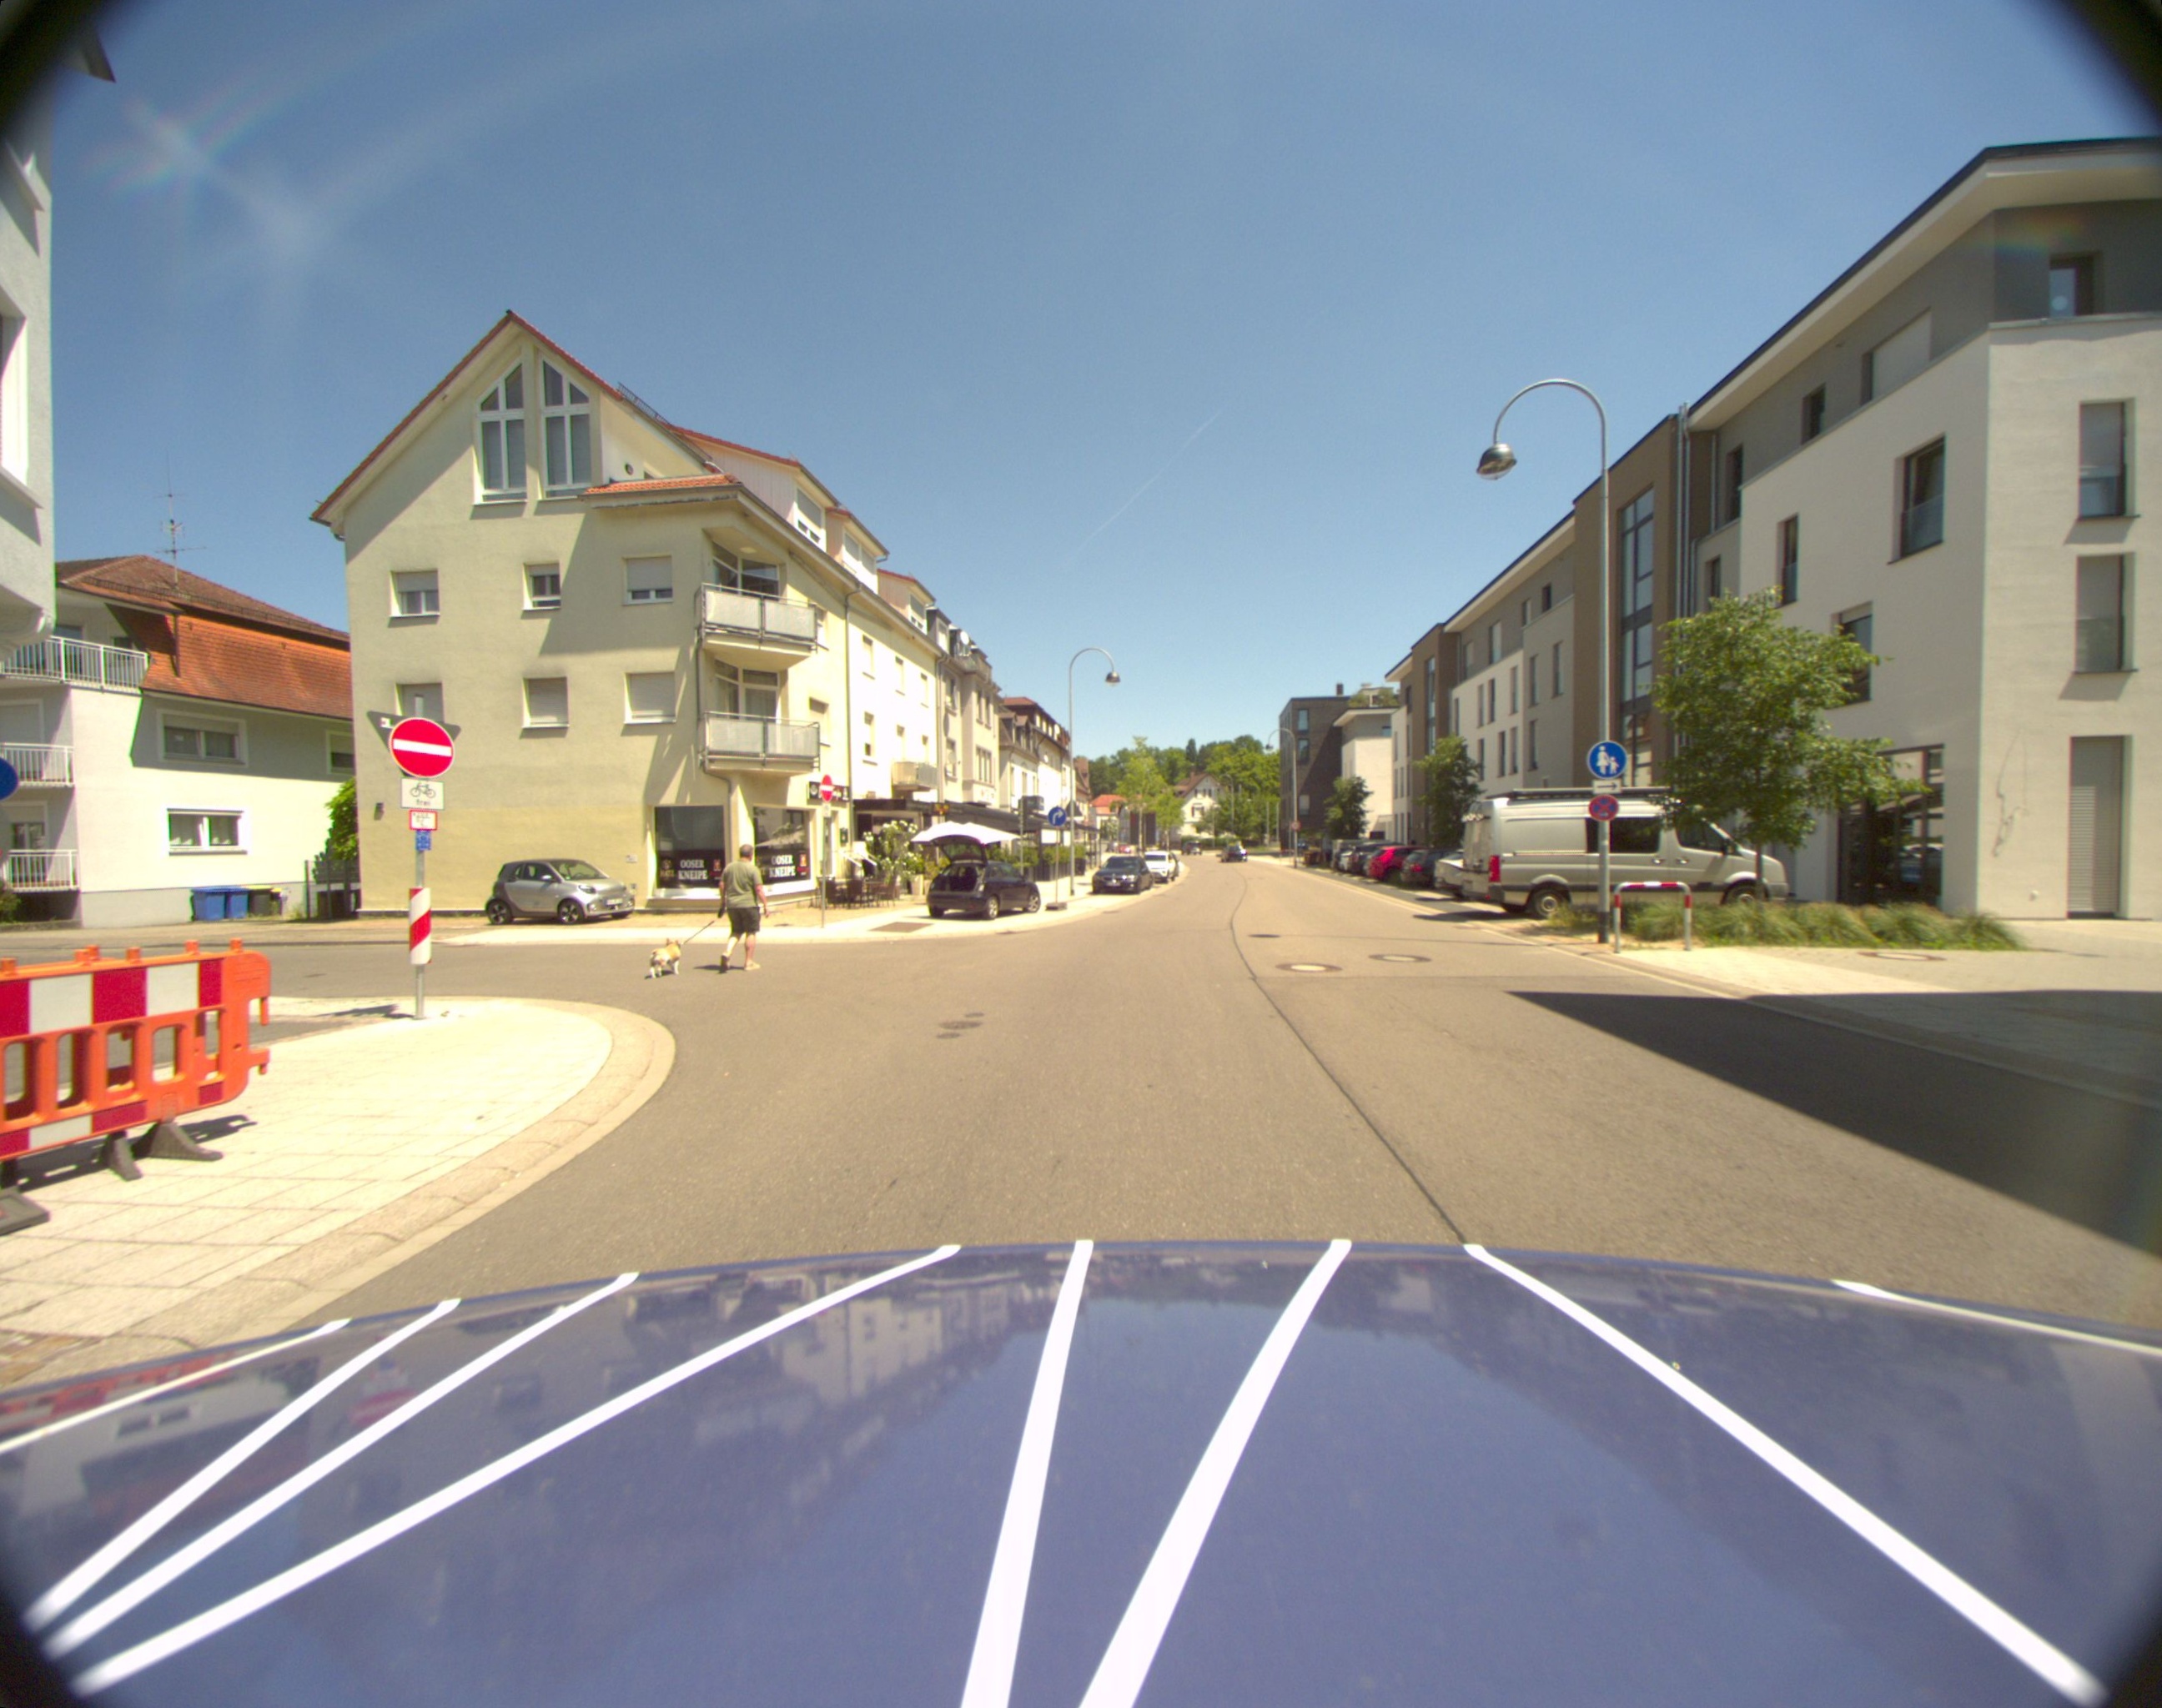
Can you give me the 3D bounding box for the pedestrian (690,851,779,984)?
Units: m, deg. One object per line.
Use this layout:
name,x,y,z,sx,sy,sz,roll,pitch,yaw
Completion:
pedestrian,-4.873,0.866,10.732,0.746,1.786,0.845,-1,0,16

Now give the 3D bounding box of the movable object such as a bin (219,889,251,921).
movable object such as a bin,-27.813,1.664,24.975,0.462,1.005,0.518,-1,0,5

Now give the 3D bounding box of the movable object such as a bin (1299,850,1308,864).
movable object such as a bin,15.763,0.220,53.832,0.484,0.992,0.588,-1,2,7

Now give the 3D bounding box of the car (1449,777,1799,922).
car,11.530,-0.074,16.643,5.778,2.717,2.292,-2,2,10

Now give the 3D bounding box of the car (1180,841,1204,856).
car,13.308,-0.639,91.302,1.816,1.691,4.073,-2,1,-6

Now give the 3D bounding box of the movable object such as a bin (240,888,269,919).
movable object such as a bin,-27.744,1.670,25.496,0.462,1.005,0.463,-1,0,5

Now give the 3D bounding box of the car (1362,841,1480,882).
car,13.810,0.301,31.125,4.039,1.422,2.001,-2,1,11

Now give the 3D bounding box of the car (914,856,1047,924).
car,-2.472,0.850,19.748,1.874,1.483,3.866,1,1,20

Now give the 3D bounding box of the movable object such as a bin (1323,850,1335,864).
movable object such as a bin,16.318,0.208,50.033,0.556,0.863,0.481,-2,2,-8

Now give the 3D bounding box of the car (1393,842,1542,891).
car,13.330,0.410,26.429,4.209,1.429,1.886,-3,1,5

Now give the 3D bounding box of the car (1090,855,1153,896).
car,1.680,0.787,30.034,1.727,1.397,4.613,0,1,13

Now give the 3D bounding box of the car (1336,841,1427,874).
car,15.305,0.171,38.897,3.994,1.413,1.911,-3,1,9

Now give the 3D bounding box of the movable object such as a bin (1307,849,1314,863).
movable object such as a bin,16.244,0.156,53.764,0.404,0.992,0.556,-1,2,8

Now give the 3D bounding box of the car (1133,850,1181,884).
car,3.839,0.607,37.683,1.740,1.478,4.057,2,2,14

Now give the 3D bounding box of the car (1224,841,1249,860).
car,13.780,-0.335,67.623,1.897,1.544,4.801,-2,0,9

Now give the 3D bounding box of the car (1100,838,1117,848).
car,4.213,-1.757,115.728,1.736,1.465,4.318,1,1,-10

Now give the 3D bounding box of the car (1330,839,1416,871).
car,15.693,0.050,41.057,3.994,1.507,2.001,-3,2,10

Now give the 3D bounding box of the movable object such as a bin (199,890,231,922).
movable object such as a bin,-27.856,1.678,24.447,0.462,1.005,0.512,-1,0,5

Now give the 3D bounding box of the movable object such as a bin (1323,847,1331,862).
movable object such as a bin,17.359,0.037,53.570,0.404,0.992,0.556,-1,2,8

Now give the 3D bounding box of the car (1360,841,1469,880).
car,14.638,0.271,33.601,4.039,1.488,2.001,-2,1,11

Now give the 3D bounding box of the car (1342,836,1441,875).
car,14.812,0.072,36.417,4.039,1.642,2.001,-2,1,11

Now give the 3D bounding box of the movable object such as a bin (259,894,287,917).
movable object such as a bin,-27.667,1.758,26.020,0.462,0.769,0.456,-1,0,5

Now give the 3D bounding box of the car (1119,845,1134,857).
car,6.040,-0.405,102.014,1.683,1.505,3.385,-1,1,-2

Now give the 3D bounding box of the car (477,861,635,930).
car,-12.508,0.974,18.189,2.732,1.463,1.531,-2,2,8

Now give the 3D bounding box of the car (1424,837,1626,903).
car,12.360,0.425,21.451,4.462,1.582,2.001,-2,1,9

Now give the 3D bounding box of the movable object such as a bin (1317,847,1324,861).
movable object such as a bin,16.898,-0.008,53.642,0.404,0.992,0.556,-1,2,8
